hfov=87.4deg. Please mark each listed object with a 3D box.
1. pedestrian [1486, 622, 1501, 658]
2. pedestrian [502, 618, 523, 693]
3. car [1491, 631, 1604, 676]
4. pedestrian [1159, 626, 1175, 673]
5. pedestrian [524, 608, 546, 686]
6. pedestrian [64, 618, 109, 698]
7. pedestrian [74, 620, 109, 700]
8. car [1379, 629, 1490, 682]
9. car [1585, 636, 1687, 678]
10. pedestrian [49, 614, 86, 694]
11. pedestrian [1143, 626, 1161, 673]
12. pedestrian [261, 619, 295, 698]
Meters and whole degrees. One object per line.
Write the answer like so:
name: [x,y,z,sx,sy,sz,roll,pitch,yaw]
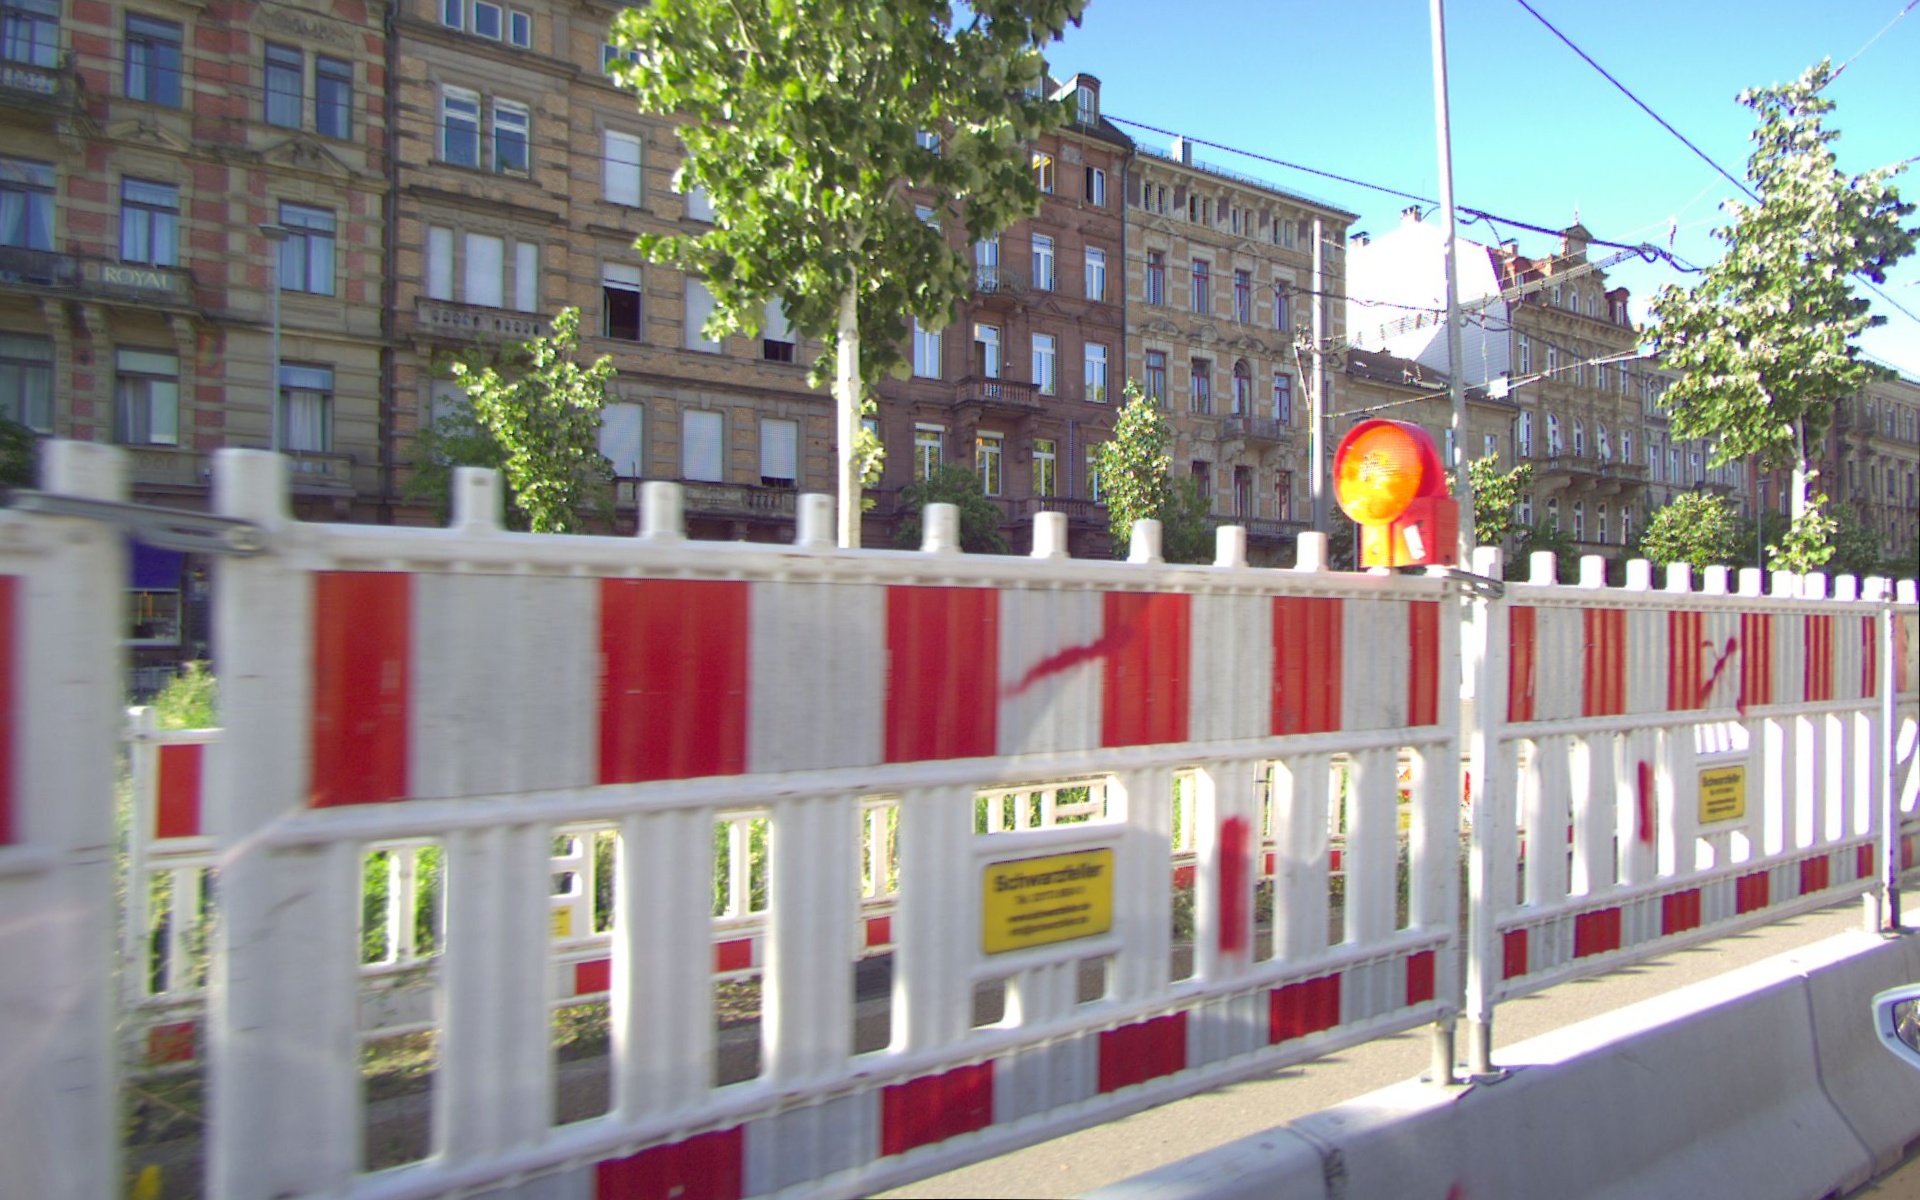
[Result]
pedestrian: [23.981,1.794,45.149,0.430,1.555,0.403,1,0,-29]
pedestrian: [-10.883,1.336,24.415,0.401,1.788,0.365,1,0,-29]
car: [22.164,1.993,37.819,4.658,1.583,1.559,1,-2,-30]
pedestrian: [7.183,1.719,34.886,0.335,1.606,0.427,1,0,-29]
pedestrian: [-10.012,1.097,23.651,0.401,1.788,0.505,1,0,-29]
pedestrian: [-18.017,1.178,20.721,0.474,1.606,0.482,1,0,12]
pedestrian: [-17.716,1.221,20.498,0.361,1.606,0.406,1,0,22]
car: [16.304,1.873,34.465,3.763,1.697,1.559,1,-2,-30]
car: [27.530,2.272,40.881,4.659,1.583,1.559,1,-2,-30]
pedestrian: [-18.381,1.104,20.693,0.383,1.606,0.386,1,0,2]
pedestrian: [6.786,1.746,35.490,0.381,1.606,0.431,1,0,-32]
pedestrian: [-14.136,1.204,20.833,0.527,1.606,0.484,1,0,-29]
